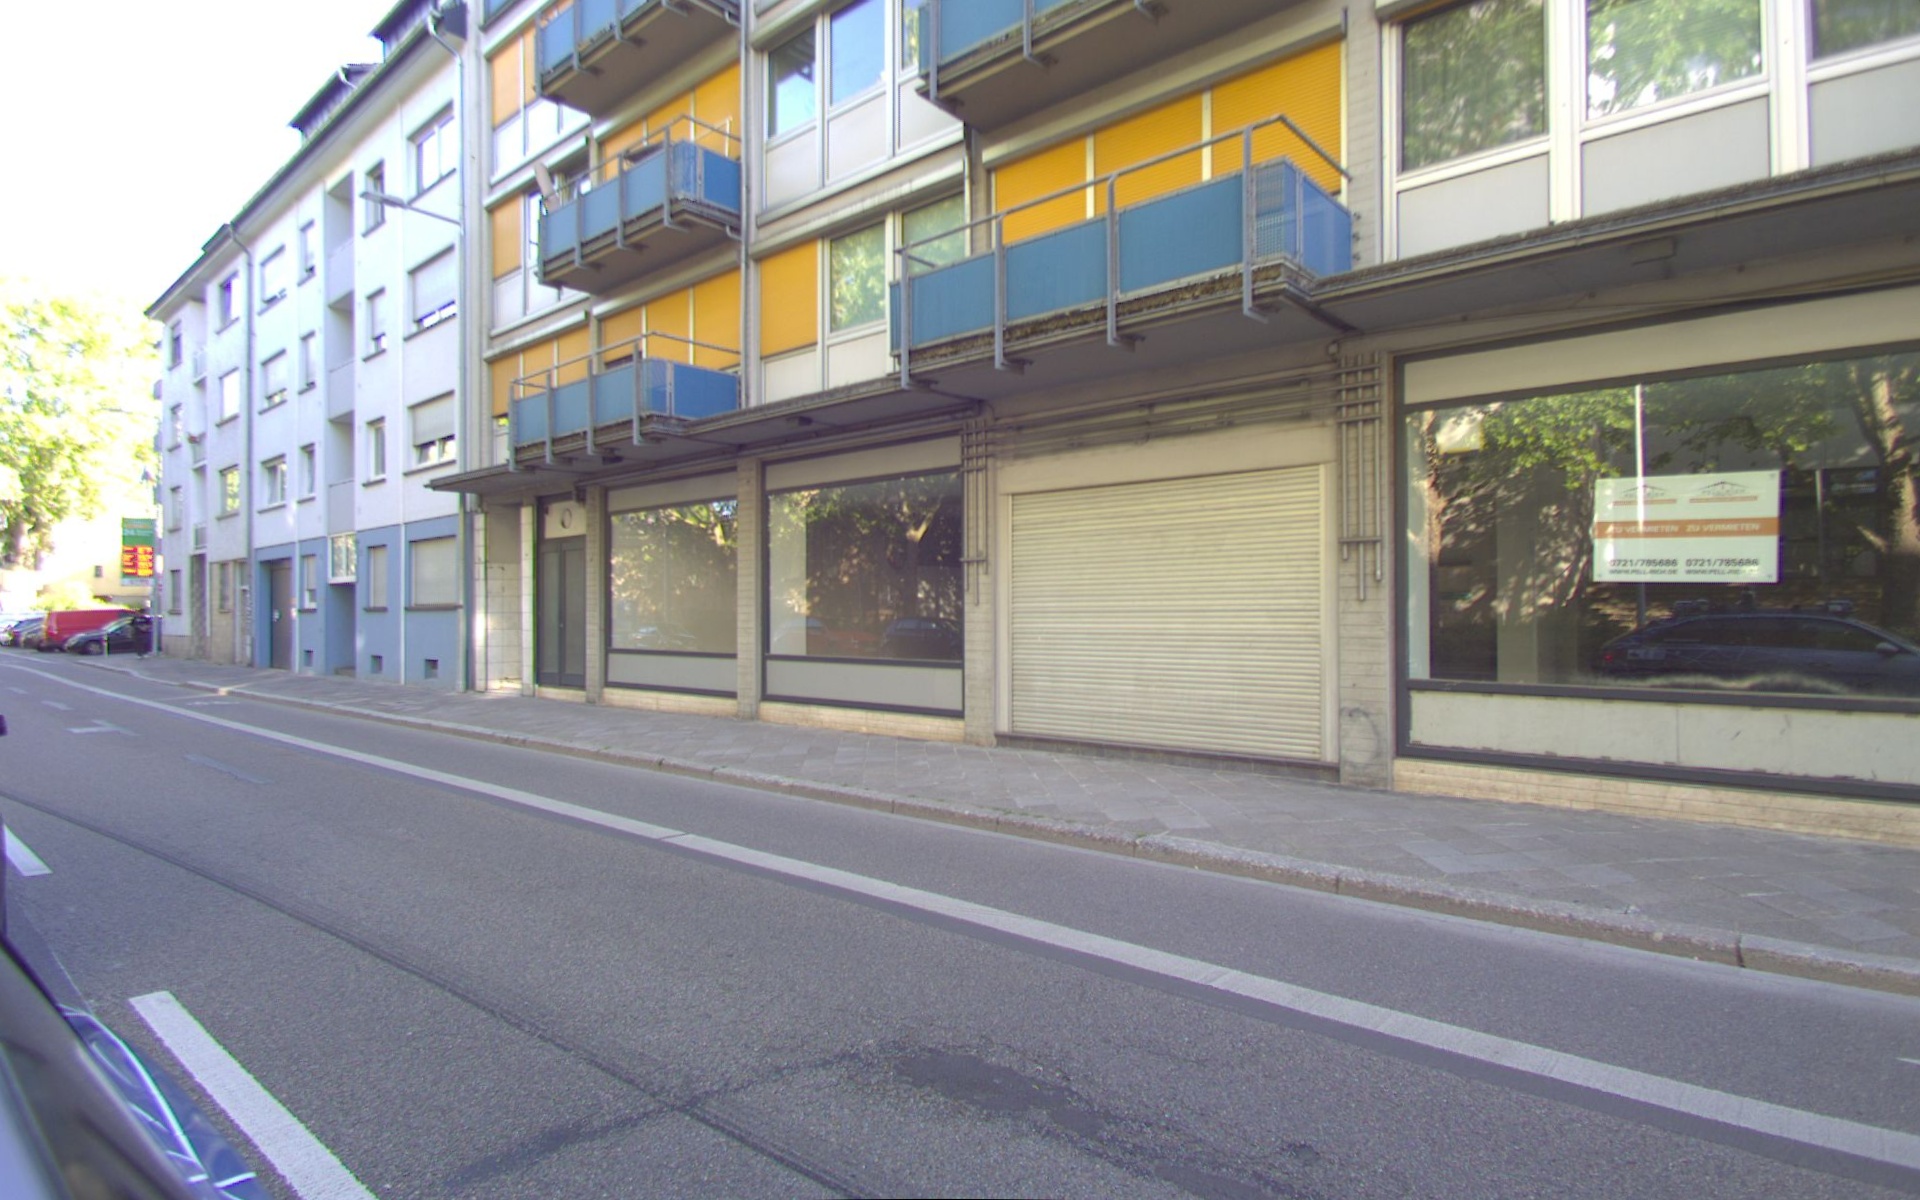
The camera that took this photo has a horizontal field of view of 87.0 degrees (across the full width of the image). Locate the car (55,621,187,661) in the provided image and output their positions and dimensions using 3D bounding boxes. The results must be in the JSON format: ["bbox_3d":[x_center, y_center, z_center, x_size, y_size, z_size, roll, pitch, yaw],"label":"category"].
[{"bbox_3d":[-36.499,1.739,44.096,1.652,1.411,4.201,-1,1,41],"label":"car"}]

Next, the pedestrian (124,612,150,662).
[{"bbox_3d":[-28.371,1.267,34.892,0.655,1.708,0.604,-2,-1,41],"label":"pedestrian"}]

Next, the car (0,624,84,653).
[{"bbox_3d":[-55.884,2.294,61.198,1.652,1.480,4.201,-1,1,41],"label":"car"}]

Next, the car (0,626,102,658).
[{"bbox_3d":[-50.469,2.288,56.106,1.652,1.480,4.201,-1,1,41],"label":"car"}]

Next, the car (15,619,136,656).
[{"bbox_3d":[-42.761,1.786,49.016,1.652,1.480,4.201,-1,1,41],"label":"car"}]

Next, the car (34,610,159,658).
[{"bbox_3d":[-40.573,1.554,47.621,1.817,1.933,4.202,-1,1,40],"label":"car"}]

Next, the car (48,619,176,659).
[{"bbox_3d":[-38.192,1.726,45.659,1.652,1.480,4.201,-1,1,41],"label":"car"}]

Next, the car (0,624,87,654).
[{"bbox_3d":[-54.502,2.274,59.790,1.652,1.480,4.201,-1,1,41],"label":"car"}]

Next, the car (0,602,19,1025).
[{"bbox_3d":[-5.607,0.795,4.377,4.300,1.510,1.826,-1,-1,41],"label":"car"}]
